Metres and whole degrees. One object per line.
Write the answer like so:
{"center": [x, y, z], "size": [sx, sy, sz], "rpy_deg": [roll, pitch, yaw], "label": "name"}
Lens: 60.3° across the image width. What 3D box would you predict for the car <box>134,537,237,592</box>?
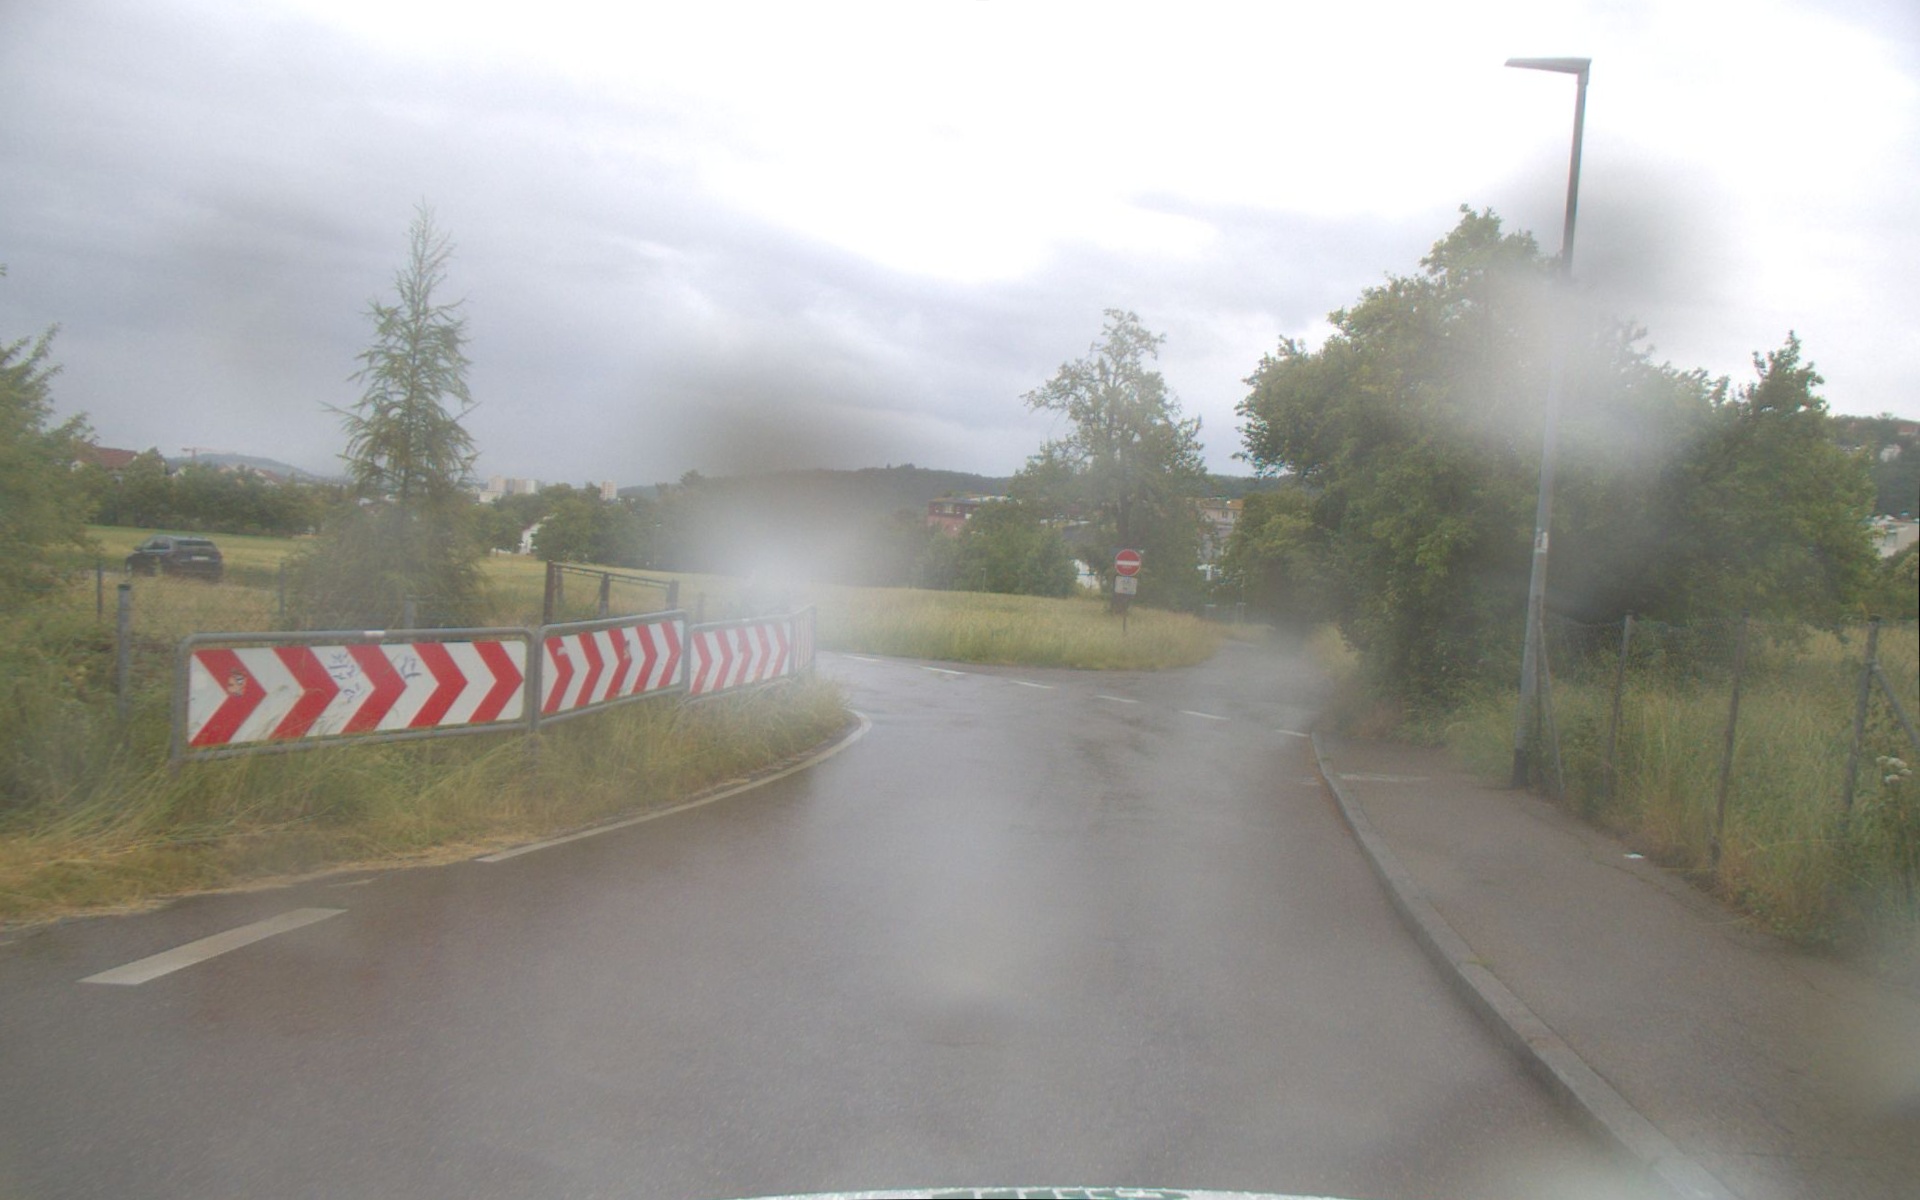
{"center": [-24.263, -1.123, 51.760], "size": [1.806, 1.621, 3.938], "rpy_deg": [1, 1, -43], "label": "car"}
